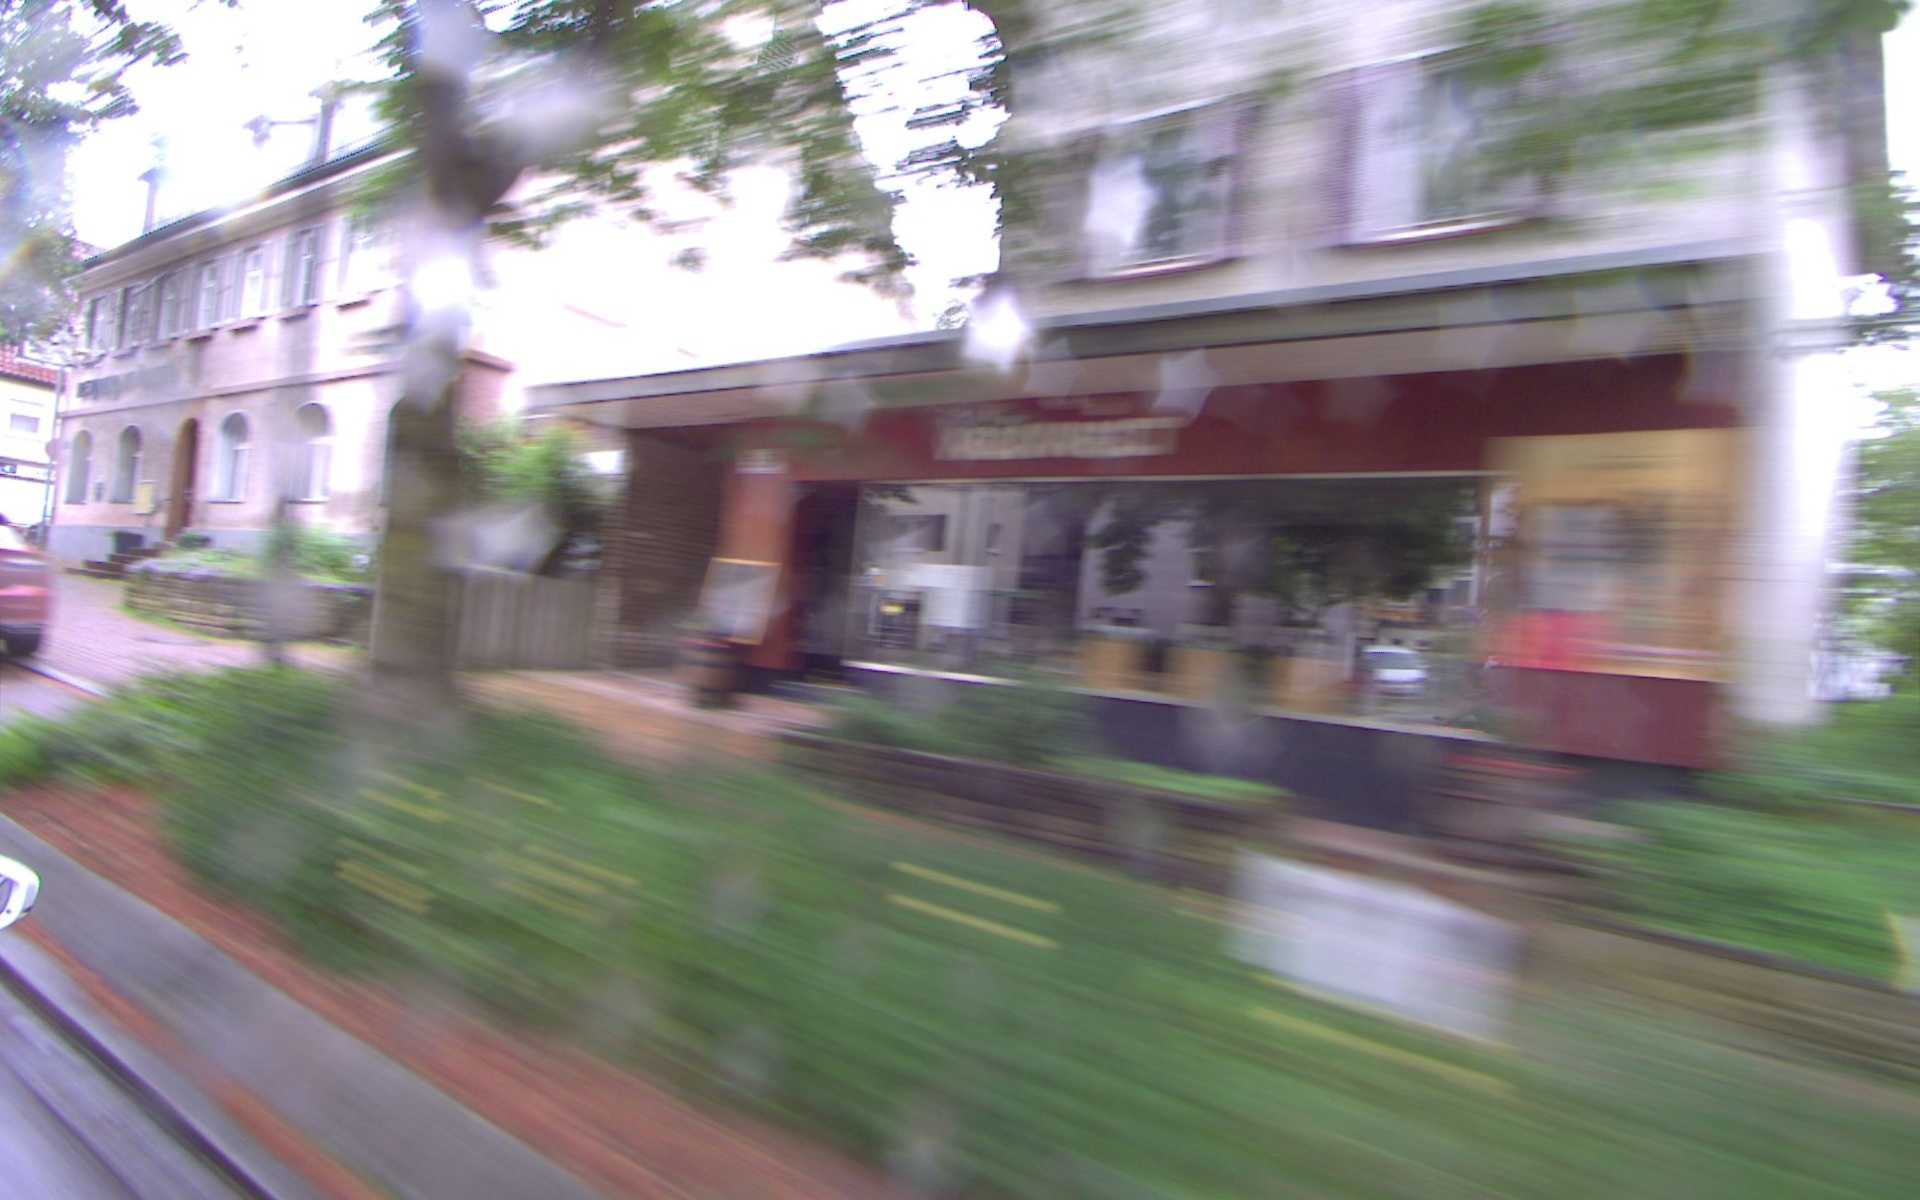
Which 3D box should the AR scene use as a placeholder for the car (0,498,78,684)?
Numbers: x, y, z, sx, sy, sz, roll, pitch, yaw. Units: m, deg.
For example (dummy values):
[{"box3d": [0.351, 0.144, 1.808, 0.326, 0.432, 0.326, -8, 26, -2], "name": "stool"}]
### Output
[{"box3d": [-9.789, -0.334, 9.045, 4.299, 1.489, 1.857, 7, -2, 37], "name": "car"}]
